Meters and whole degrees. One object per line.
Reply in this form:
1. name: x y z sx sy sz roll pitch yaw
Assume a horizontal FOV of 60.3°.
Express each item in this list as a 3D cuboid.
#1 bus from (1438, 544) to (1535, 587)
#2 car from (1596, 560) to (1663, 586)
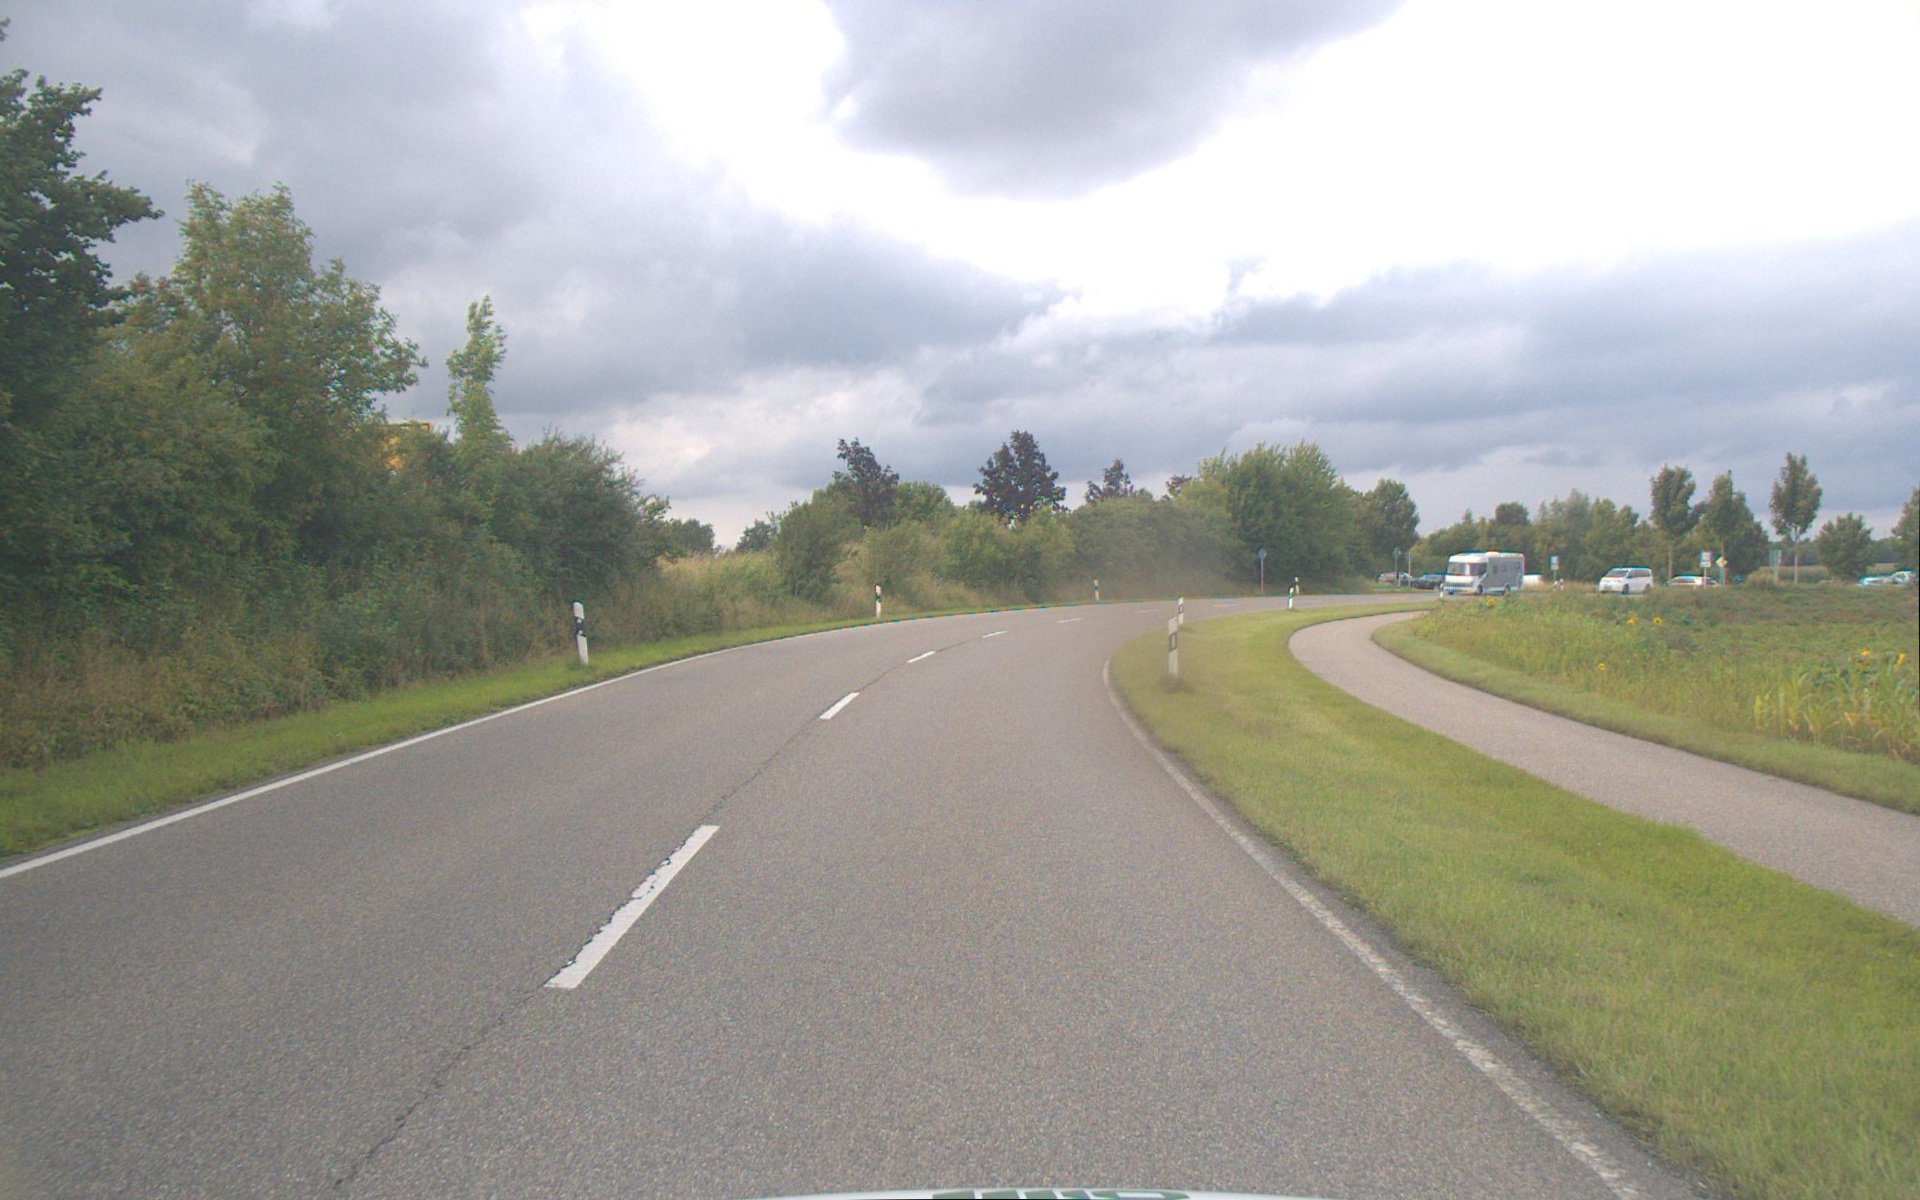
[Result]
1. bus: 35.080 -2.267 110.085 8.363 2.758 2.444 -1 2 -44
2. car: 49.788 -2.038 122.986 5.123 1.901 2.096 -1 1 -34
